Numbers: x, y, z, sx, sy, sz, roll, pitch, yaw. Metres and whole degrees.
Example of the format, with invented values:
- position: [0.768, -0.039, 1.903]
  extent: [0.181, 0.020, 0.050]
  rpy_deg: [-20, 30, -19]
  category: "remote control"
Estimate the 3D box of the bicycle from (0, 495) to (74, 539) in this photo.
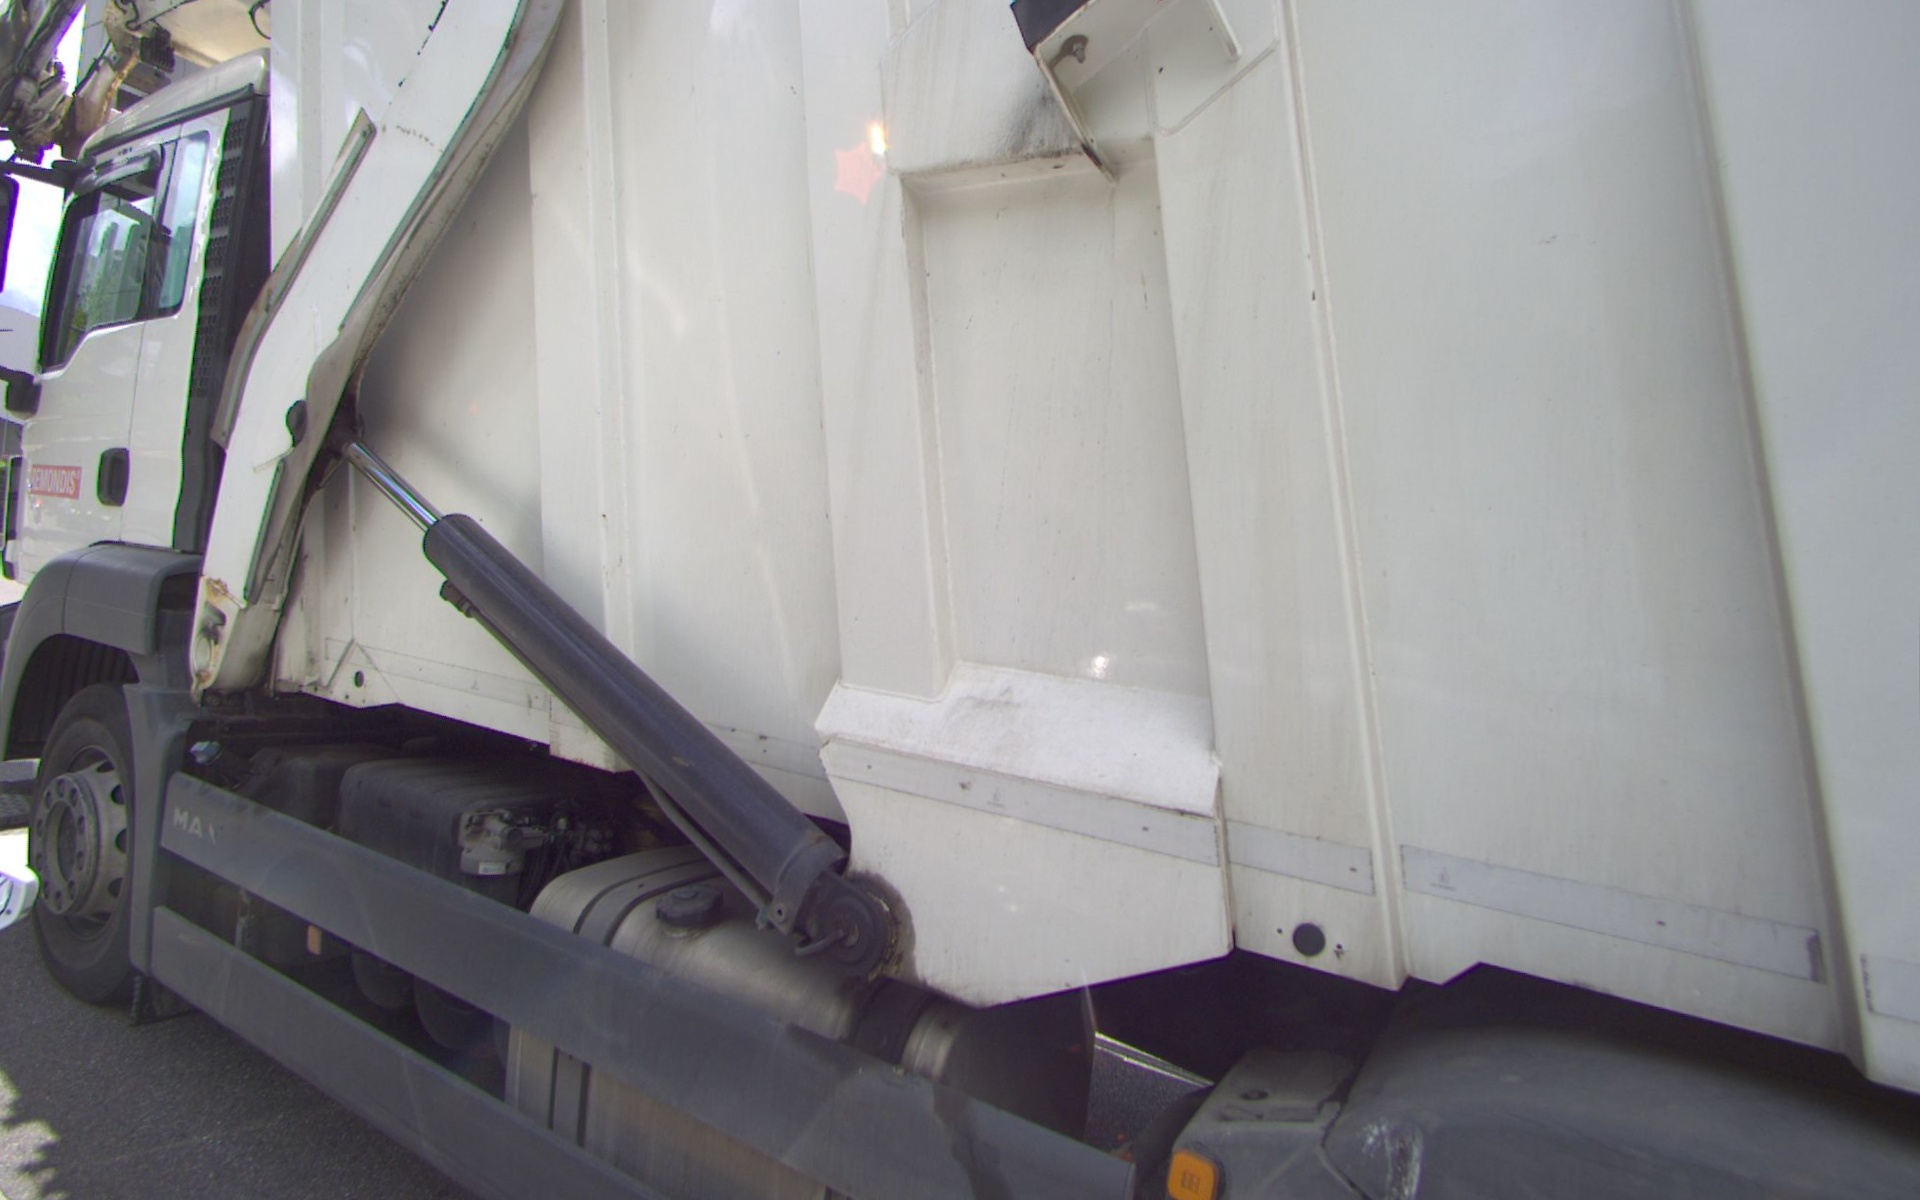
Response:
- position: [-29.304, -2.641, 31.492]
  extent: [2.197, 1.099, 0.474]
  rpy_deg: [8, -1, -23]
  category: "bicycle"

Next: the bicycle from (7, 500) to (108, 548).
- position: [-27.969, -2.335, 31.208]
  extent: [2.197, 1.099, 0.474]
  rpy_deg: [8, -1, -23]
  category: "bicycle"

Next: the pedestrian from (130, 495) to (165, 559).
- position: [-24.389, -2.196, 30.215]
  extent: [0.705, 1.818, 0.686]
  rpy_deg: [4, 3, -38]
  category: "pedestrian"

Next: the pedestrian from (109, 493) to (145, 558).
- position: [-24.365, -2.180, 29.431]
  extent: [0.706, 1.818, 0.636]
  rpy_deg: [4, 3, -38]
  category: "pedestrian"

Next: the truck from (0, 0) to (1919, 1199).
- position: [1.099, -0.314, 2.195]
  extent: [10.003, 3.958, 2.494]
  rpy_deg: [6, -1, 31]
  category: "truck"

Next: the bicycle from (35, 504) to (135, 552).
- position: [-26.943, -2.206, 31.013]
  extent: [2.166, 1.099, 0.474]
  rpy_deg: [8, -1, -23]
  category: "bicycle"
